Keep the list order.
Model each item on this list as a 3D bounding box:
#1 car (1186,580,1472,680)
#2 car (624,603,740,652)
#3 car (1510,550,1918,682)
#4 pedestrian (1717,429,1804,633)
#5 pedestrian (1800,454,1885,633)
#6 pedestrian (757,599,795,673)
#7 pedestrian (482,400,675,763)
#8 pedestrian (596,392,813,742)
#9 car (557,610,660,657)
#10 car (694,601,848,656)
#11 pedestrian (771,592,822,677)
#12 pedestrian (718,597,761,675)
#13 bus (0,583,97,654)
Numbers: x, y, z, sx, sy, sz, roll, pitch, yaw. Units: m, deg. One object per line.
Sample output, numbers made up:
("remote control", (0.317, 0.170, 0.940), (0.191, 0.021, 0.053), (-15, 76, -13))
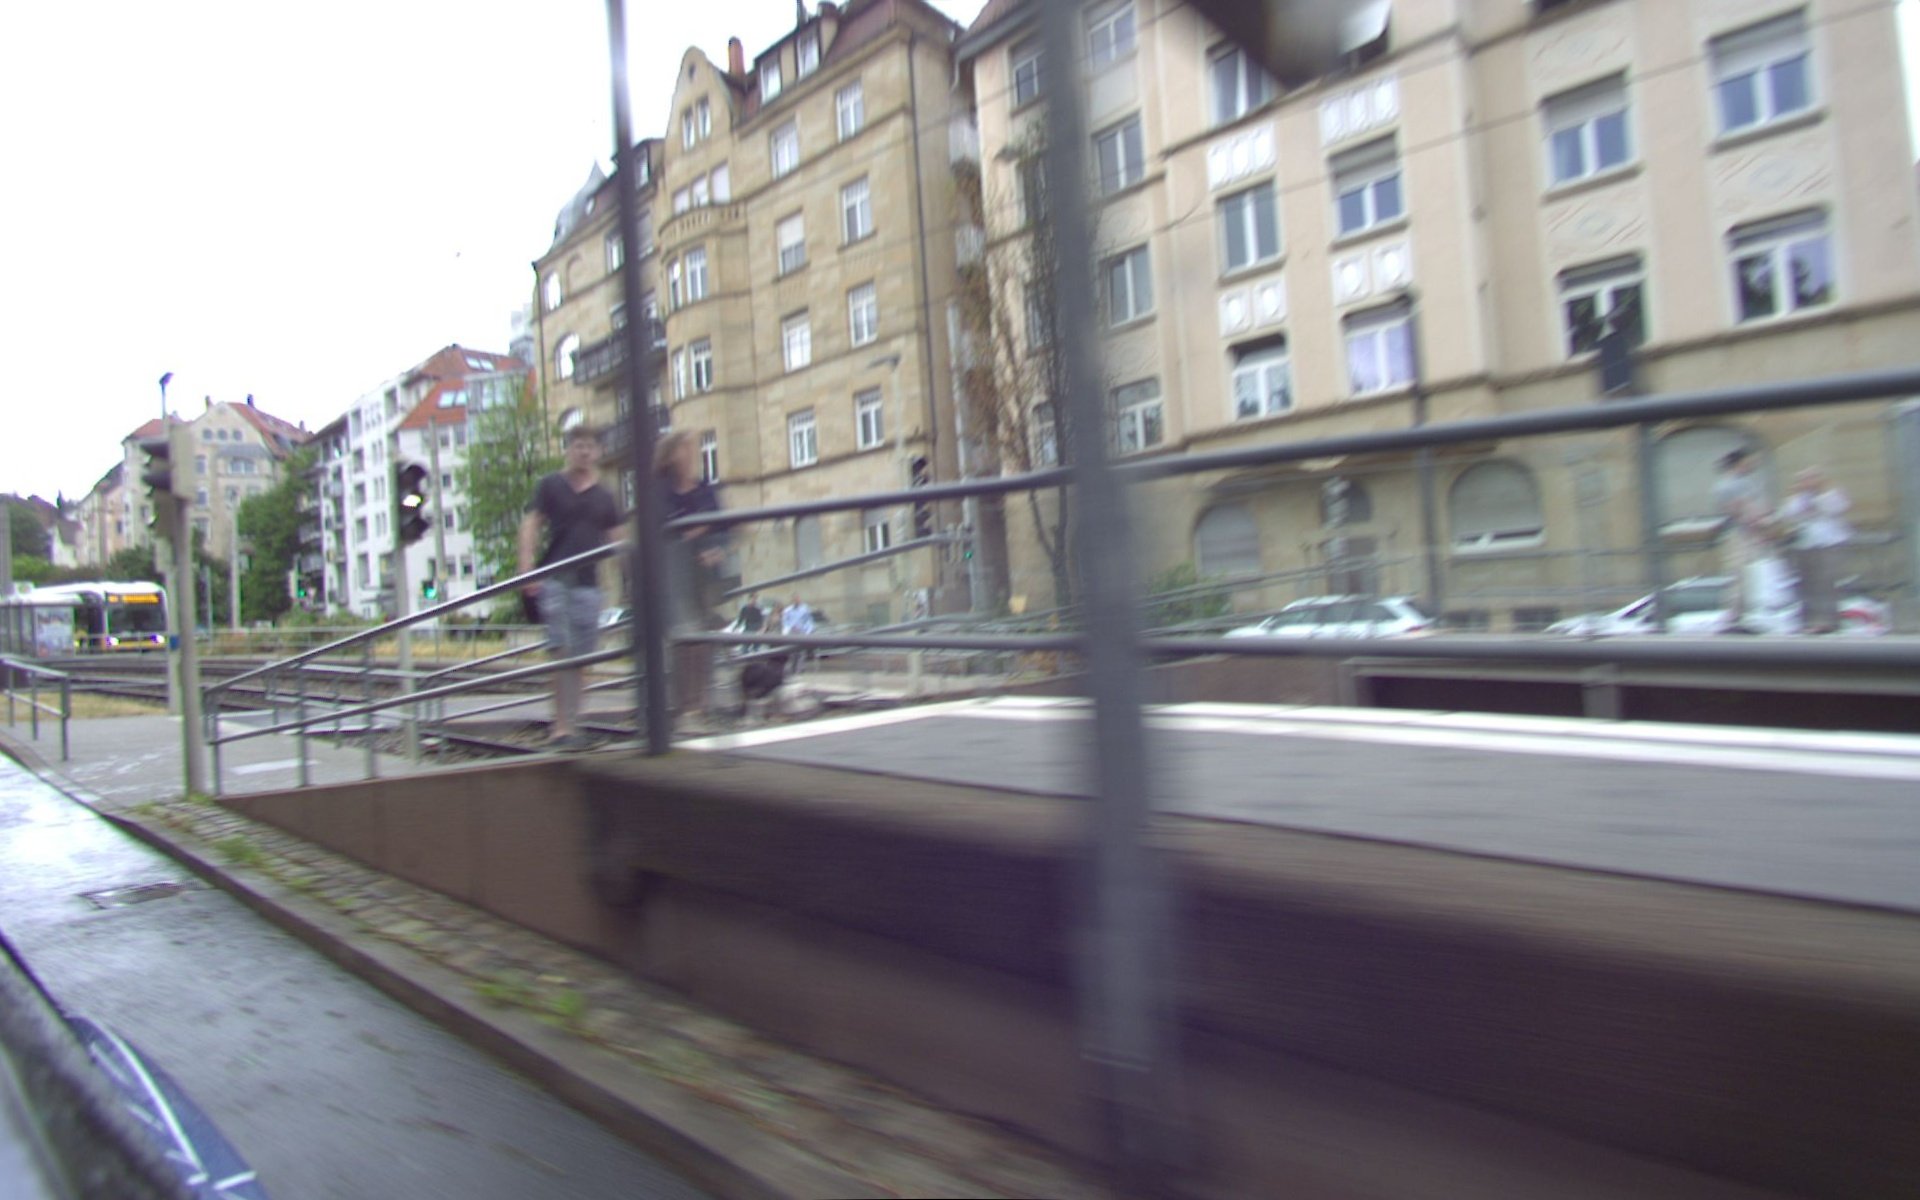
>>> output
("car", (6.688, 0.470, 18.619), (4.531, 1.544, 1.973), (0, 3, 42))
("car", (-9.048, 0.891, 32.784), (4.173, 1.453, 1.613), (-2, -1, 42))
("car", (10.812, 0.264, 14.789), (4.535, 1.635, 1.902), (-2, -2, 43))
("pedestrian", (7.641, -0.625, 9.657), (0.598, 1.864, 0.555), (-1, -2, 41))
("pedestrian", (8.306, -0.506, 9.543), (0.562, 1.617, 0.510), (-1, -2, 41))
("pedestrian", (-3.926, 0.756, 21.578), (0.620, 1.543, 0.514), (-2, -1, 43))
("pedestrian", (-2.090, -0.090, 5.532), (0.847, 1.797, 0.643), (-1, 0, 42))
("pedestrian", (-1.293, -0.138, 5.090), (0.683, 1.574, 0.643), (-13, -8, 41))
("car", (-12.472, 1.170, 35.798), (4.173, 1.559, 1.613), (-2, -1, 42))
("car", (-5.540, 0.808, 29.278), (4.865, 1.453, 1.700), (-2, 0, 41))
("pedestrian", (-3.381, 0.706, 20.902), (0.728, 1.712, 0.712), (-2, -1, 43))
("pedestrian", (-4.665, 0.748, 21.449), (0.620, 1.605, 0.618), (-2, -1, 43))
("bus", (-48.659, 1.005, 53.217), (9.081, 3.495, 2.569), (-1, -1, 34))
